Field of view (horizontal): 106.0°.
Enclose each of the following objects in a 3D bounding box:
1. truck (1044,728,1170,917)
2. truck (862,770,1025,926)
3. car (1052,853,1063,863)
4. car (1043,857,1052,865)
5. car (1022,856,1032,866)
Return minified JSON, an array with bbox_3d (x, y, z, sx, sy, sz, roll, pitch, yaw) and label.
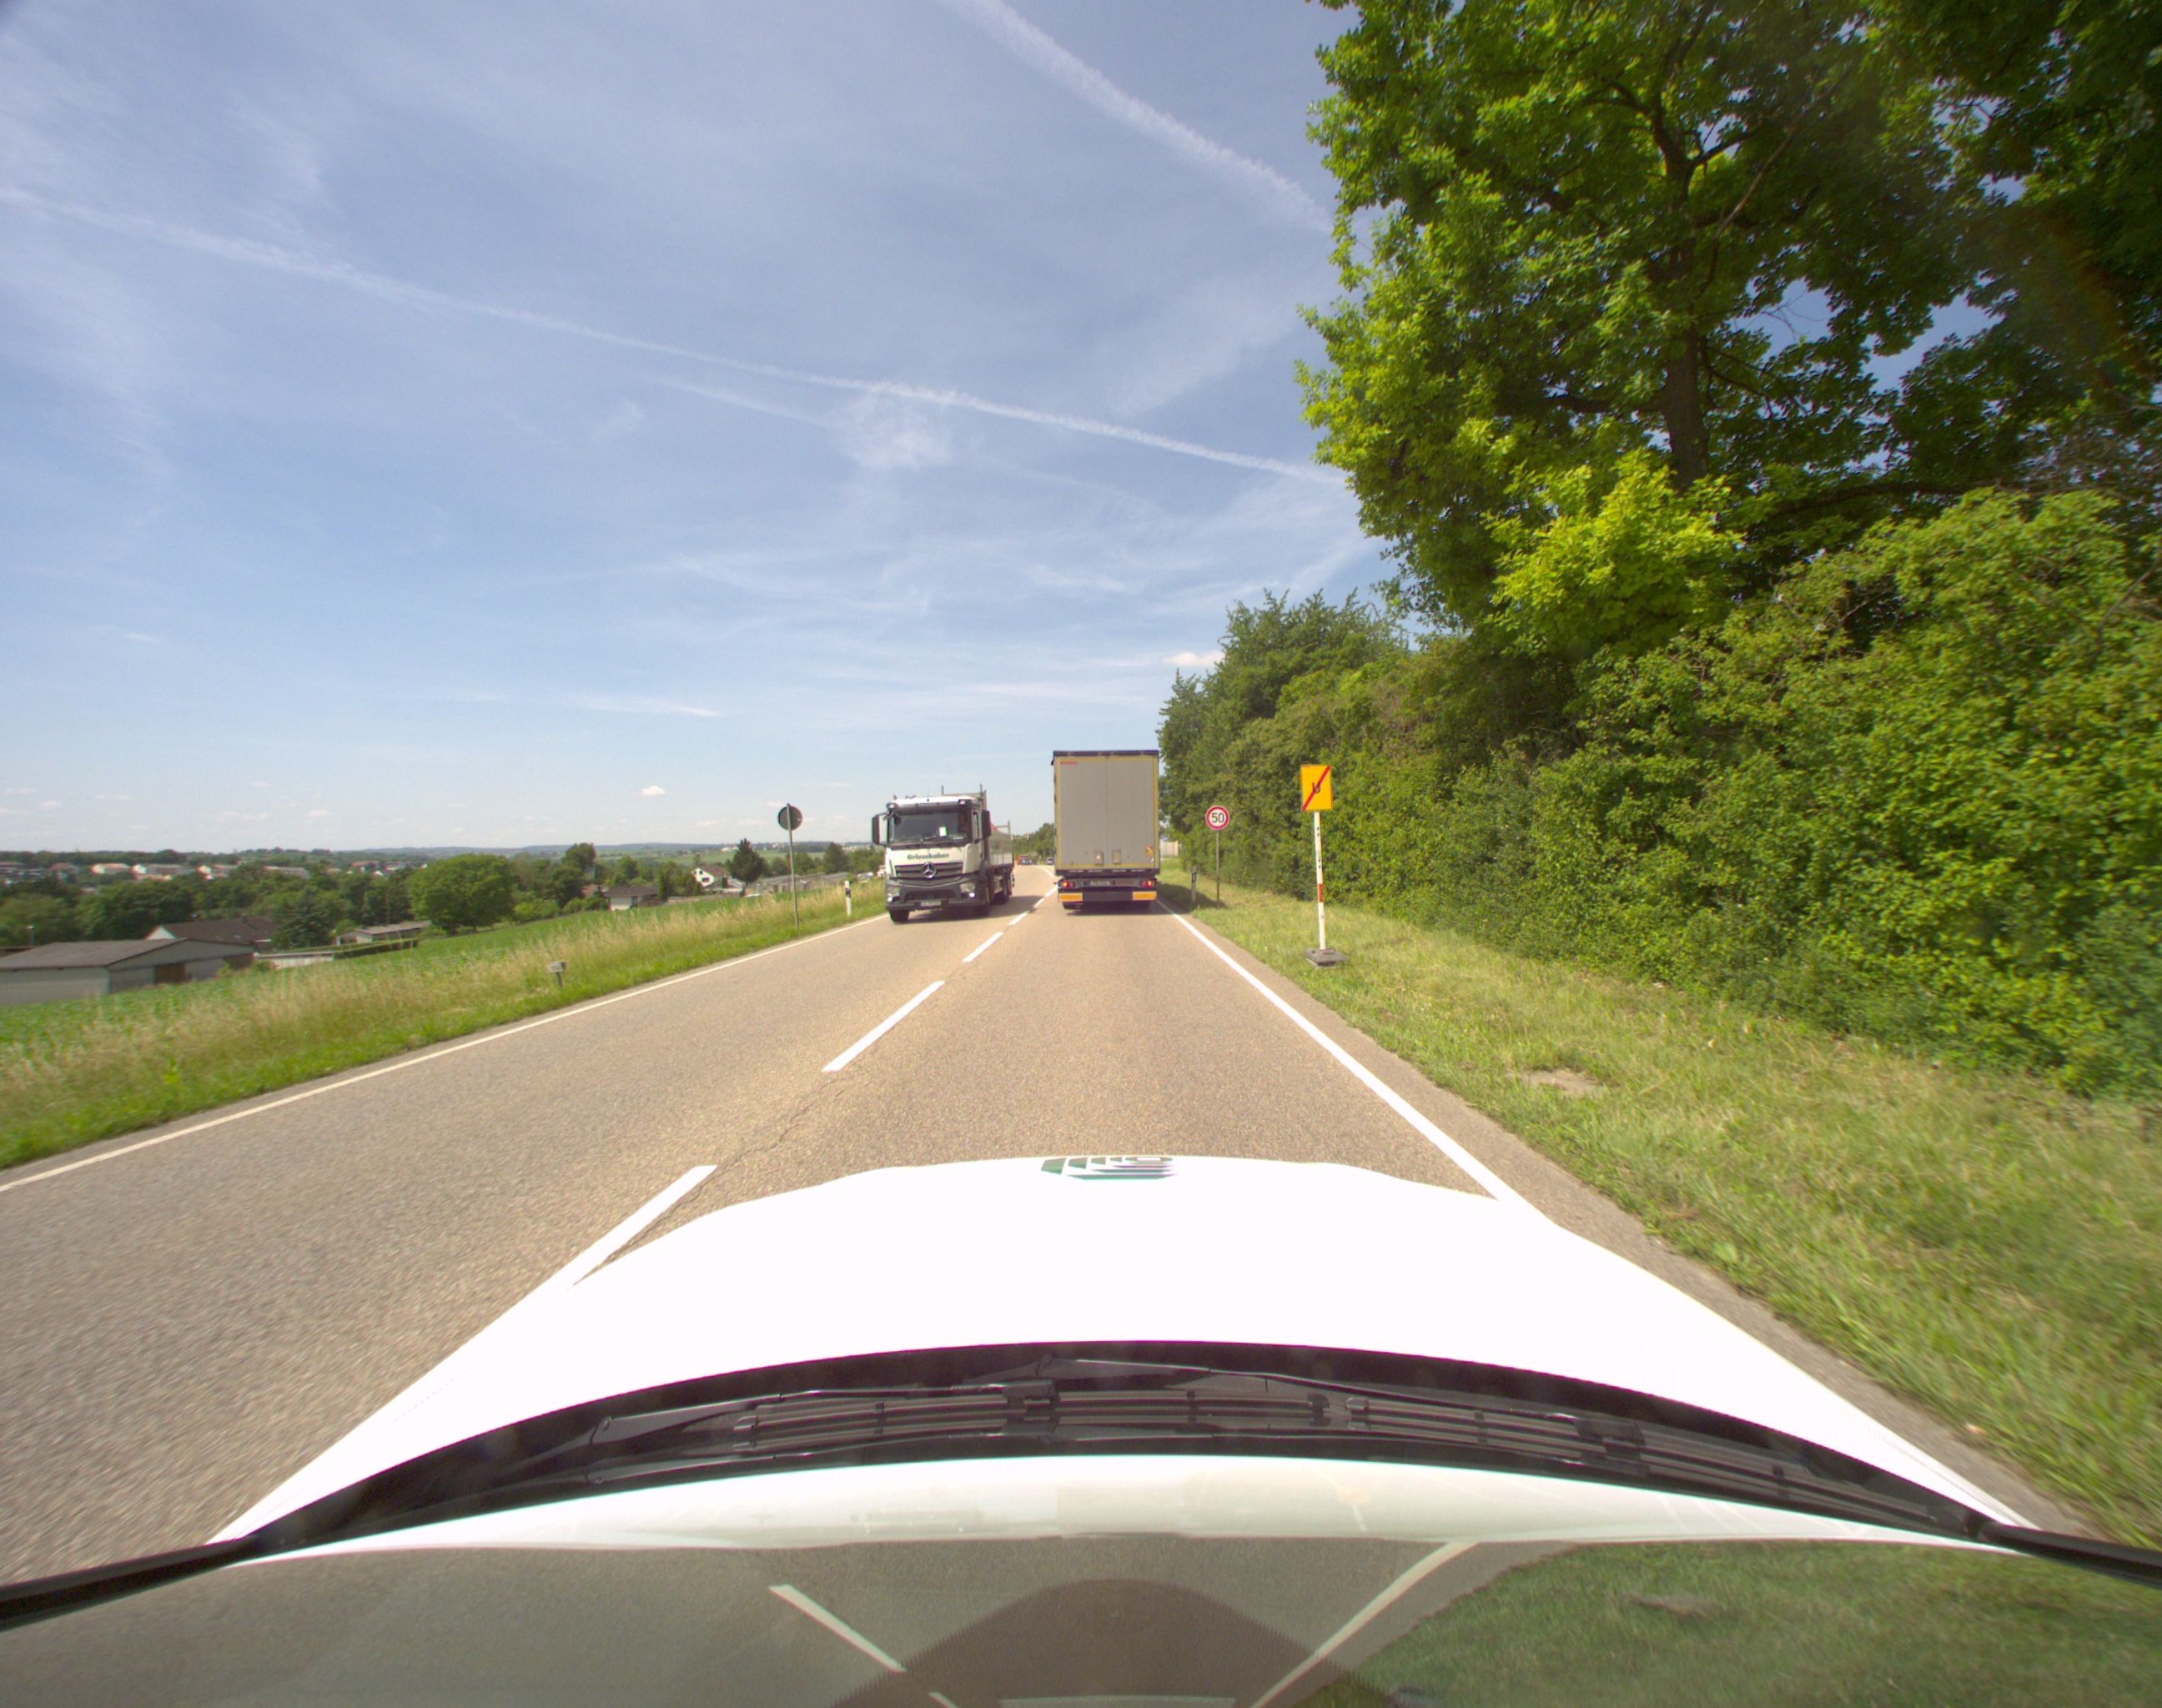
[{"bbox_3d":[0.512,-0.756,23.620,2.899,4.409,8.854,-1,0,-1],"label":"truck"},{"bbox_3d":[-3.691,-0.154,25.125,2.747,3.576,11.066,-4,0,1],"label":"truck"},{"bbox_3d":[-5.059,0.812,174.616,2.166,2.013,4.521,-4,0,-3],"label":"car"},{"bbox_3d":[-7.910,1.607,191.960,1.888,1.777,4.381,-4,0,-3],"label":"car"},{"bbox_3d":[-11.603,1.438,175.093,1.989,1.949,4.497,-4,0,-3],"label":"car"}]
